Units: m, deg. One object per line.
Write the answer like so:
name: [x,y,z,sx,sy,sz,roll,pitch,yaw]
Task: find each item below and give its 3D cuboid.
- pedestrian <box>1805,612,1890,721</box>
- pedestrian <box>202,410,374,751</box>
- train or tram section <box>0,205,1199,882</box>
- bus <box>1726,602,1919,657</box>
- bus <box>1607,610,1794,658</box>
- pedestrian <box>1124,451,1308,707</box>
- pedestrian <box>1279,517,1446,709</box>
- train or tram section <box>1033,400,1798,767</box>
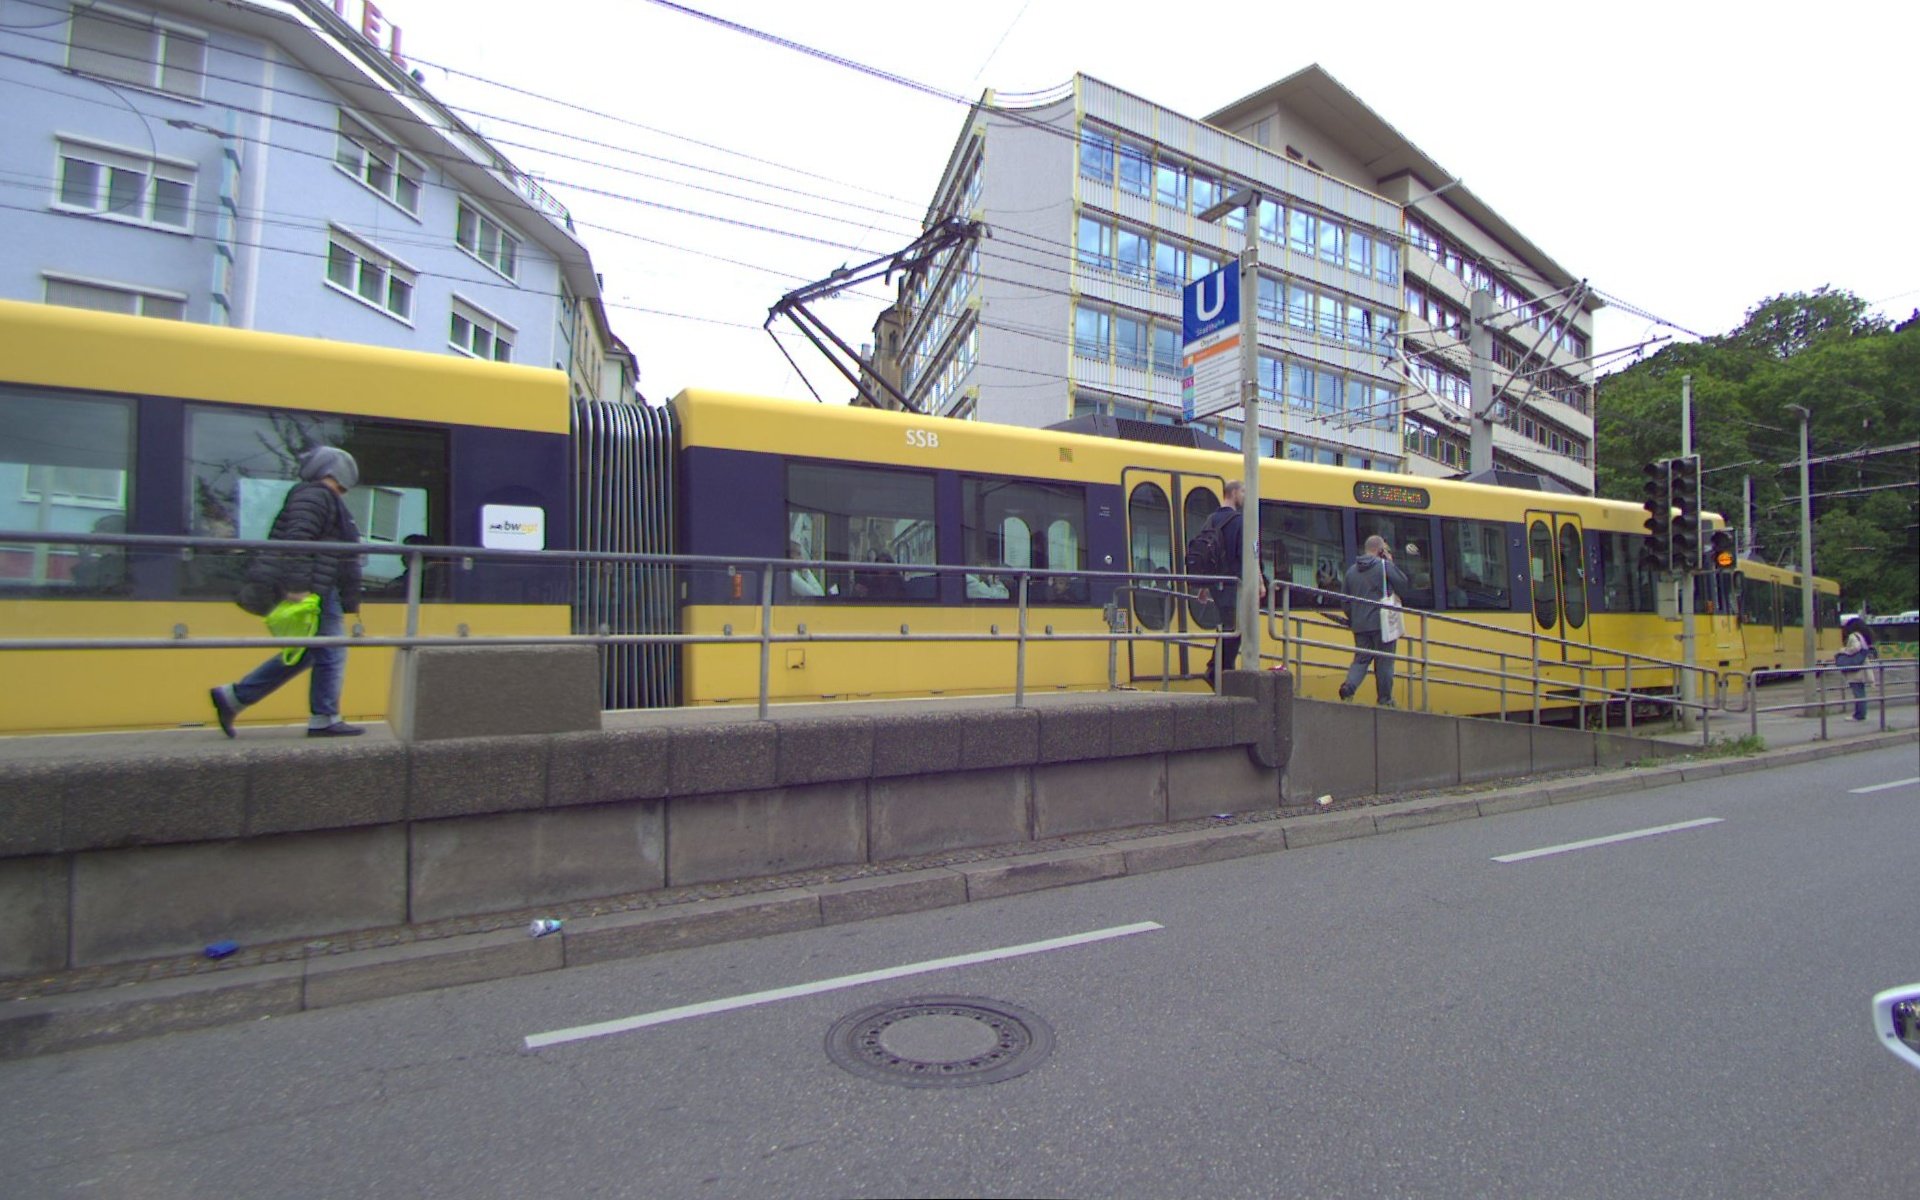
pedestrian: [13.974,1.037,15.812,0.989,1.646,0.672,1,-3,-31]
pedestrian: [-3.444,-0.071,5.218,0.657,1.605,0.775,1,-3,-30]
train or tram section: [-4.342,-0.227,7.729,14.068,3.711,2.867,1,-3,-31]
bus: [55.873,1.974,63.962,3.334,3.068,11.517,-1,-3,-15]
bus: [53.478,2.574,73.160,3.268,3.083,11.333,-1,-3,-15]
pedestrian: [2.178,-0.117,8.547,1.219,1.995,0.925,4,-5,-30]
pedestrian: [3.932,0.172,9.841,1.029,1.701,1.112,6,-6,-29]
train or tram section: [7.768,0.002,15.114,14.310,3.711,2.868,1,-3,-31]
